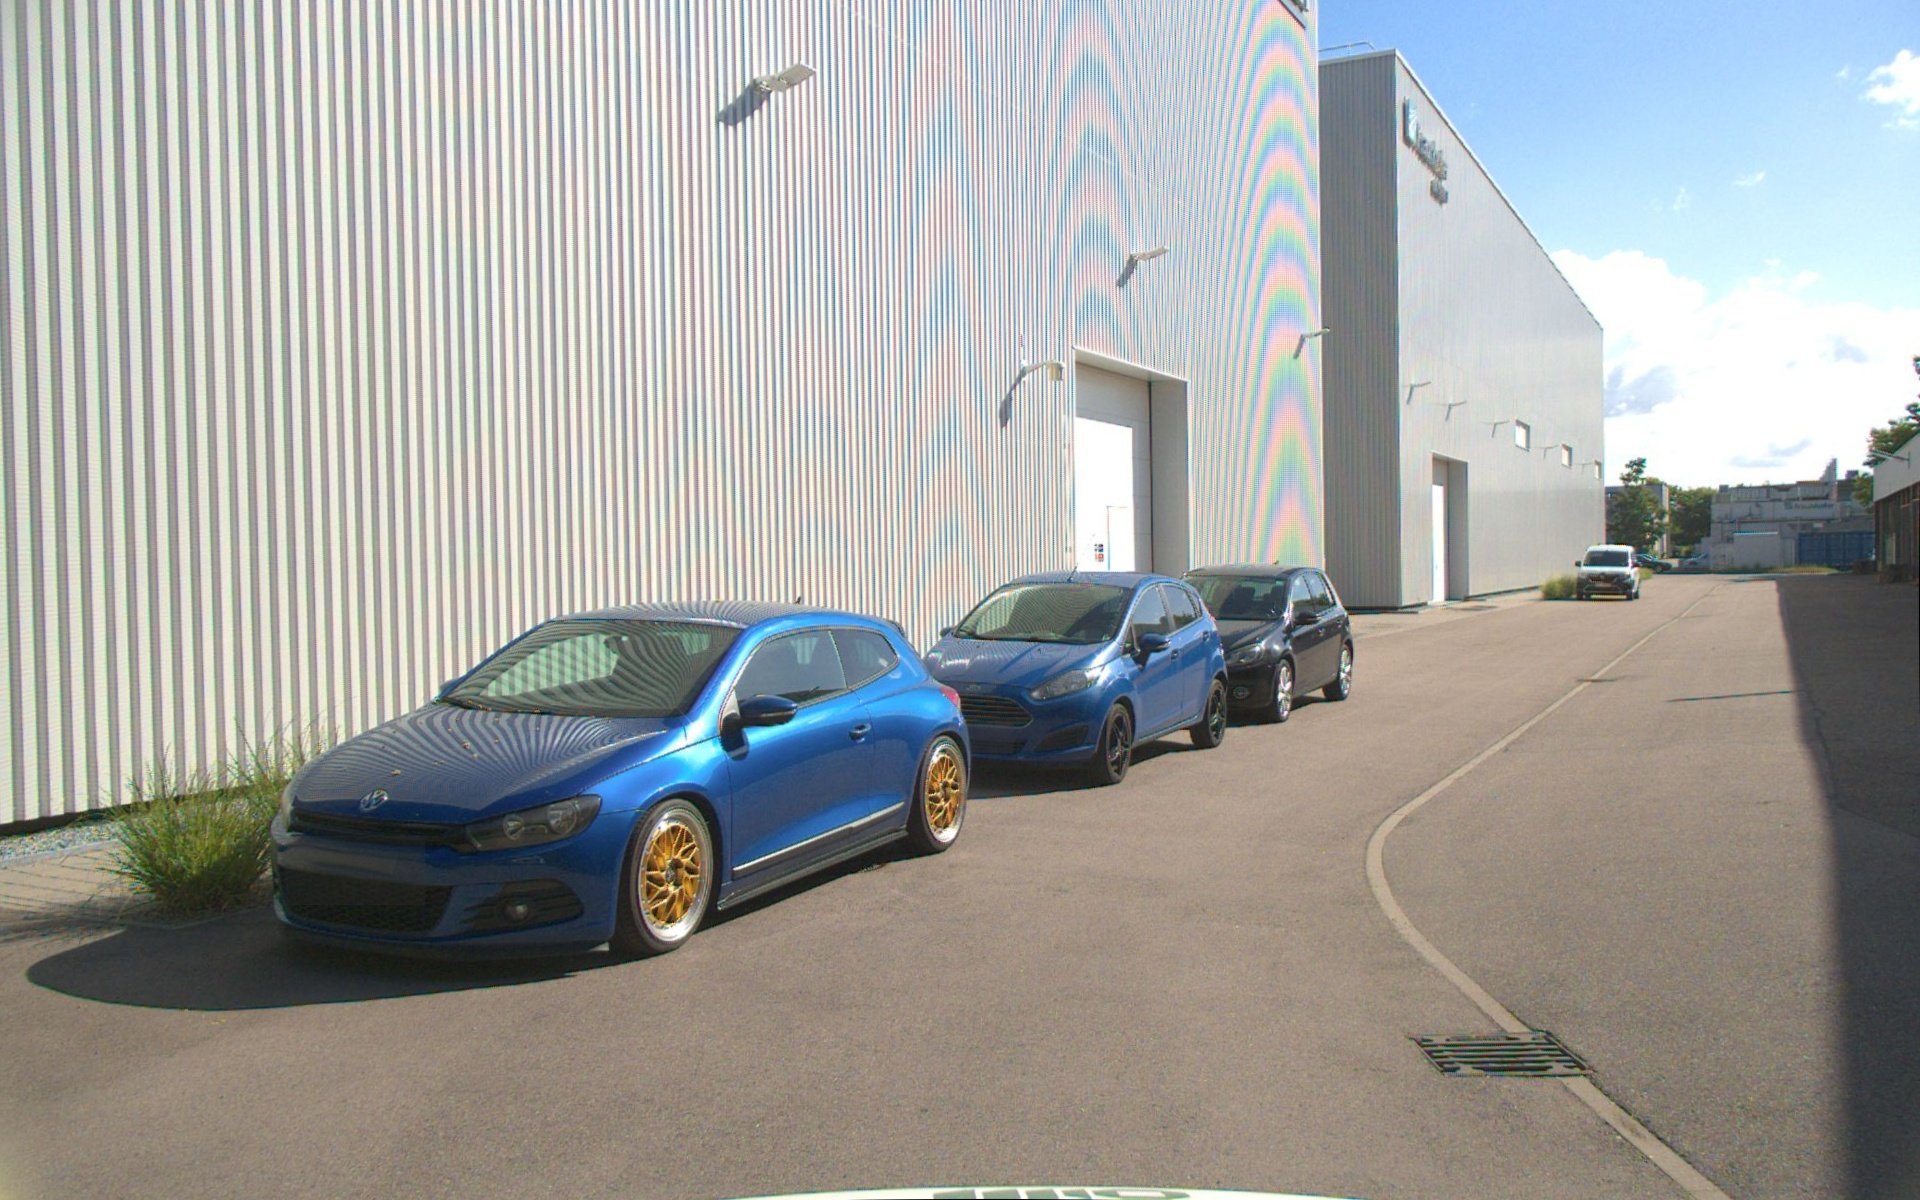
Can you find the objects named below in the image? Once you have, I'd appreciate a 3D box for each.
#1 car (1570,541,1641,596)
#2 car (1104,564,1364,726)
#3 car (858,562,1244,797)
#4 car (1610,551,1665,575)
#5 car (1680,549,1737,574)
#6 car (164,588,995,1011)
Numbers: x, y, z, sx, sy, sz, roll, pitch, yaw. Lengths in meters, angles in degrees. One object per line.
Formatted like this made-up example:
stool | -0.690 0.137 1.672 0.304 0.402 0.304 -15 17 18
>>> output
car | 21.931 -1.094 56.112 1.673 1.786 4.292 2 2 29
car | 2.993 0.372 17.424 1.715 1.442 3.896 2 2 25
car | 0.879 0.473 13.014 1.715 1.498 3.896 2 2 25
car | 54.094 -2.963 132.025 4.003 1.806 1.900 -1 1 25
car | 58.187 -2.995 128.660 4.003 1.806 1.900 -1 1 25
car | -1.449 0.682 7.972 1.714 1.408 4.166 0 1 25
